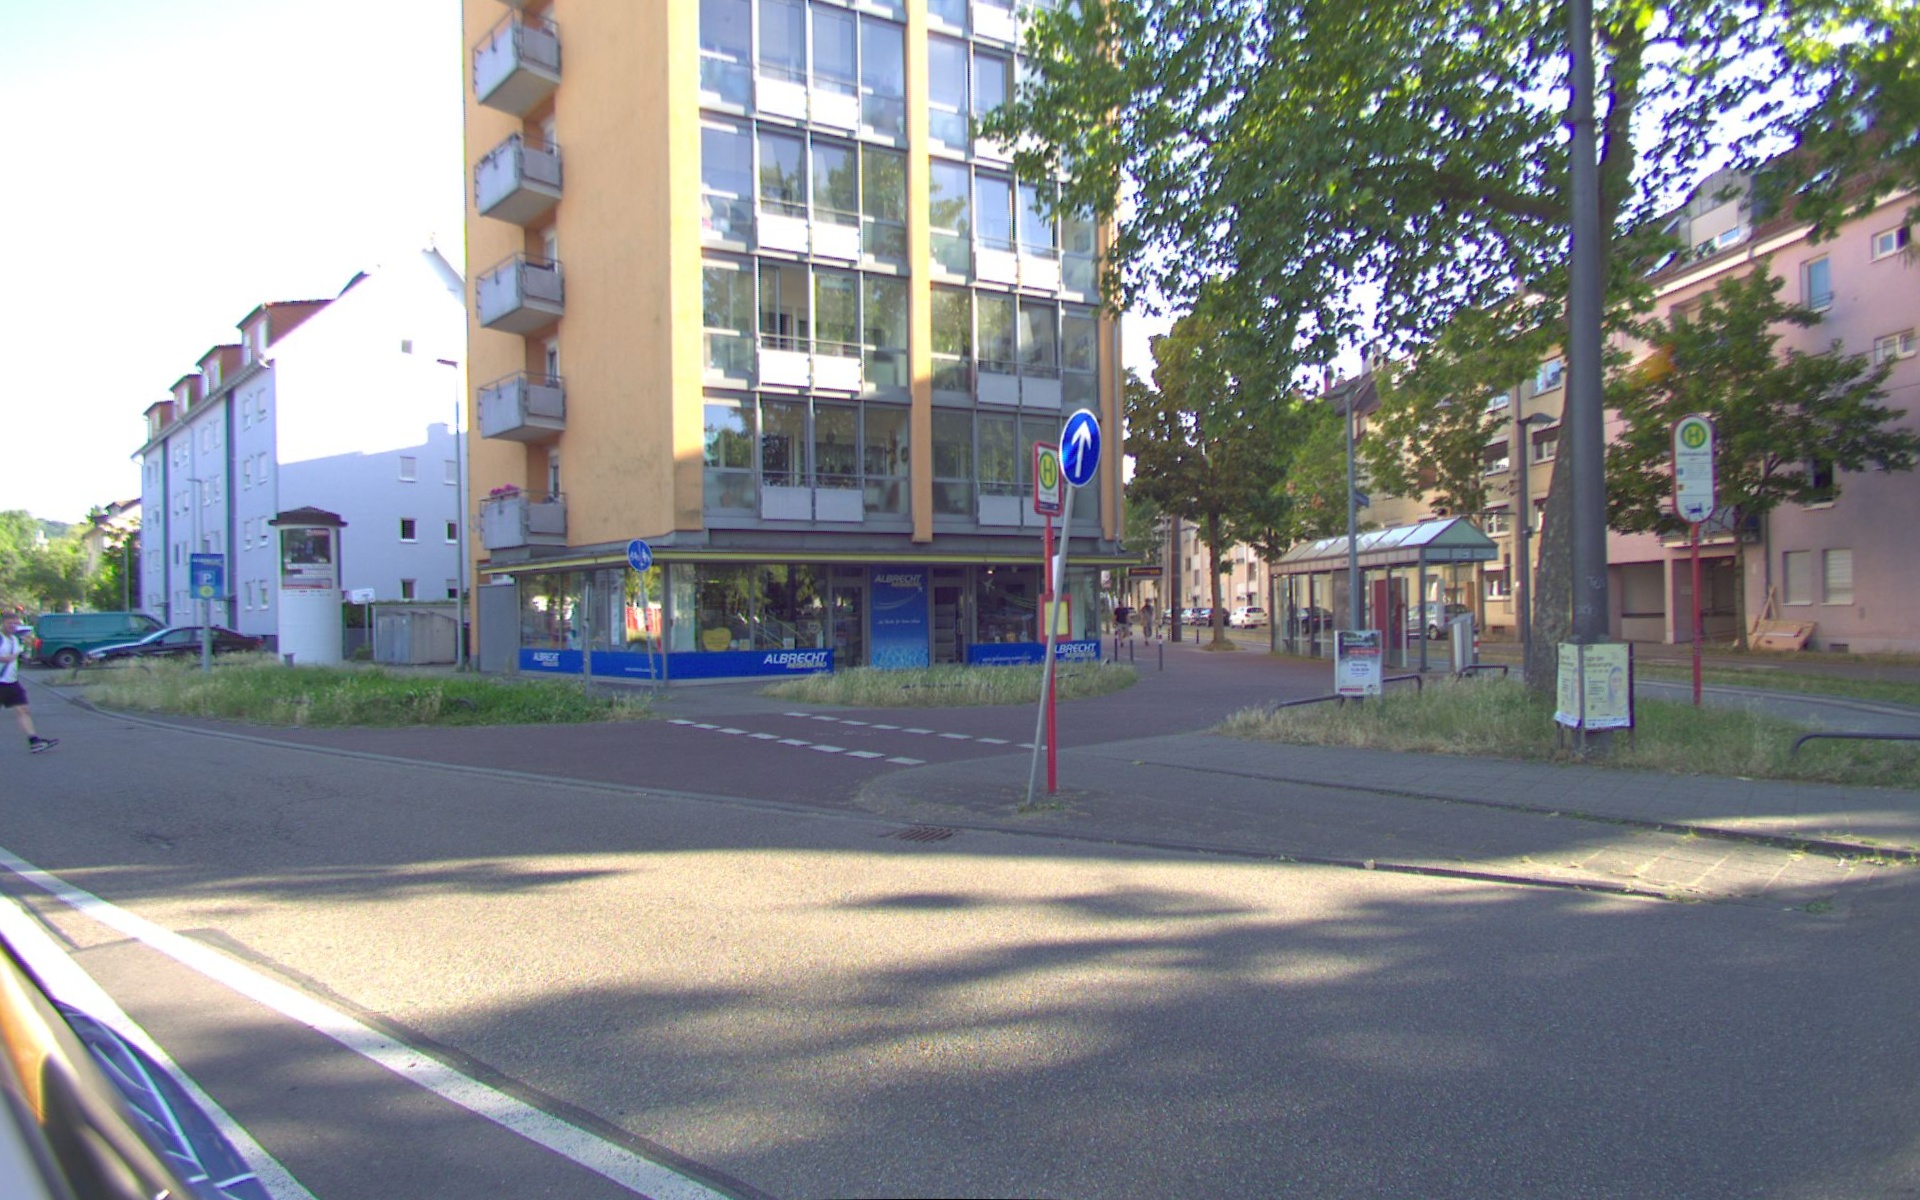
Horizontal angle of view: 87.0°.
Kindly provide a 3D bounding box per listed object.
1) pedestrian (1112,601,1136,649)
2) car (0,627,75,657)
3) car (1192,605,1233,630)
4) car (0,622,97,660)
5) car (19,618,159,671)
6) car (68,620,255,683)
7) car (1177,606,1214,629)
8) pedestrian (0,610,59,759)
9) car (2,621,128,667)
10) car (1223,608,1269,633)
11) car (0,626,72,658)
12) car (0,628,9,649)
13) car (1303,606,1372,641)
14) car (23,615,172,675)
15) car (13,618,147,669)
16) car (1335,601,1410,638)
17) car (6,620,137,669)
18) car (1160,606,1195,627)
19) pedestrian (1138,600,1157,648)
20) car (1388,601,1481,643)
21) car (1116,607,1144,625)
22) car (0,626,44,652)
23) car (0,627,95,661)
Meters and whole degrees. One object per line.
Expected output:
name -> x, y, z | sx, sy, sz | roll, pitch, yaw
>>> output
pedestrian -> 6.132, 0.926, 37.828 | 0.803, 1.763, 0.538 | -1, 0, 6
car -> -55.661, 2.499, 60.387 | 4.199, 1.585, 1.867 | -1, 0, -44
car -> 18.703, 1.267, 75.162 | 1.808, 1.719, 4.059 | -1, 0, -3
car -> -46.119, 2.036, 50.871 | 4.061, 1.785, 1.758 | -1, 0, -44
car -> -33.122, 1.646, 38.536 | 3.941, 1.829, 2.001 | -1, 0, -44
car -> -24.274, 1.508, 30.870 | 4.361, 1.674, 2.003 | -1, 0, -41
car -> 18.641, 1.352, 80.351 | 1.771, 1.719, 4.170 | -1, 0, -3
pedestrian -> -11.782, 1.010, 12.252 | 1.080, 1.750, 0.897 | -1, 0, 19
car -> -38.829, 1.863, 43.935 | 4.016, 1.765, 1.900 | -1, 0, -44
car -> 19.170, 1.347, 68.057 | 1.741, 1.588, 4.049 | -1, 0, -3
car -> -55.795, 2.470, 60.440 | 4.016, 1.765, 1.900 | -1, 0, -44
car -> -74.761, 2.984, 76.968 | 3.490, 1.585, 1.867 | -1, 0, -44
car -> 19.914, 1.203, 53.605 | 1.911, 1.719, 4.115 | -1, 0, -3
car -> -31.217, 1.555, 36.693 | 2.001, 1.962, 3.942 | -1, 0, 44
car -> -35.122, 1.672, 40.439 | 3.941, 1.829, 2.001 | -1, 0, -44
car -> 19.904, 0.919, 48.992 | 1.911, 1.719, 3.827 | -1, 0, -3
car -> -36.860, 1.805, 42.017 | 4.003, 1.829, 1.938 | -1, 0, -44
car -> 18.429, 1.394, 85.805 | 1.830, 1.719, 4.170 | -1, 0, -3
pedestrian -> 6.965, 0.874, 37.684 | 0.622, 1.763, 0.689 | -1, 0, 6
car -> 20.744, 0.908, 44.437 | 1.911, 1.719, 4.115 | -1, 0, -3
car -> 17.732, 1.638, 105.551 | 1.911, 1.719, 4.372 | -1, 0, -3
car -> -63.497, 2.600, 66.999 | 4.199, 1.585, 1.867 | -1, 0, -44
car -> -48.122, 2.272, 52.962 | 4.199, 1.585, 1.867 | -1, 0, -44
